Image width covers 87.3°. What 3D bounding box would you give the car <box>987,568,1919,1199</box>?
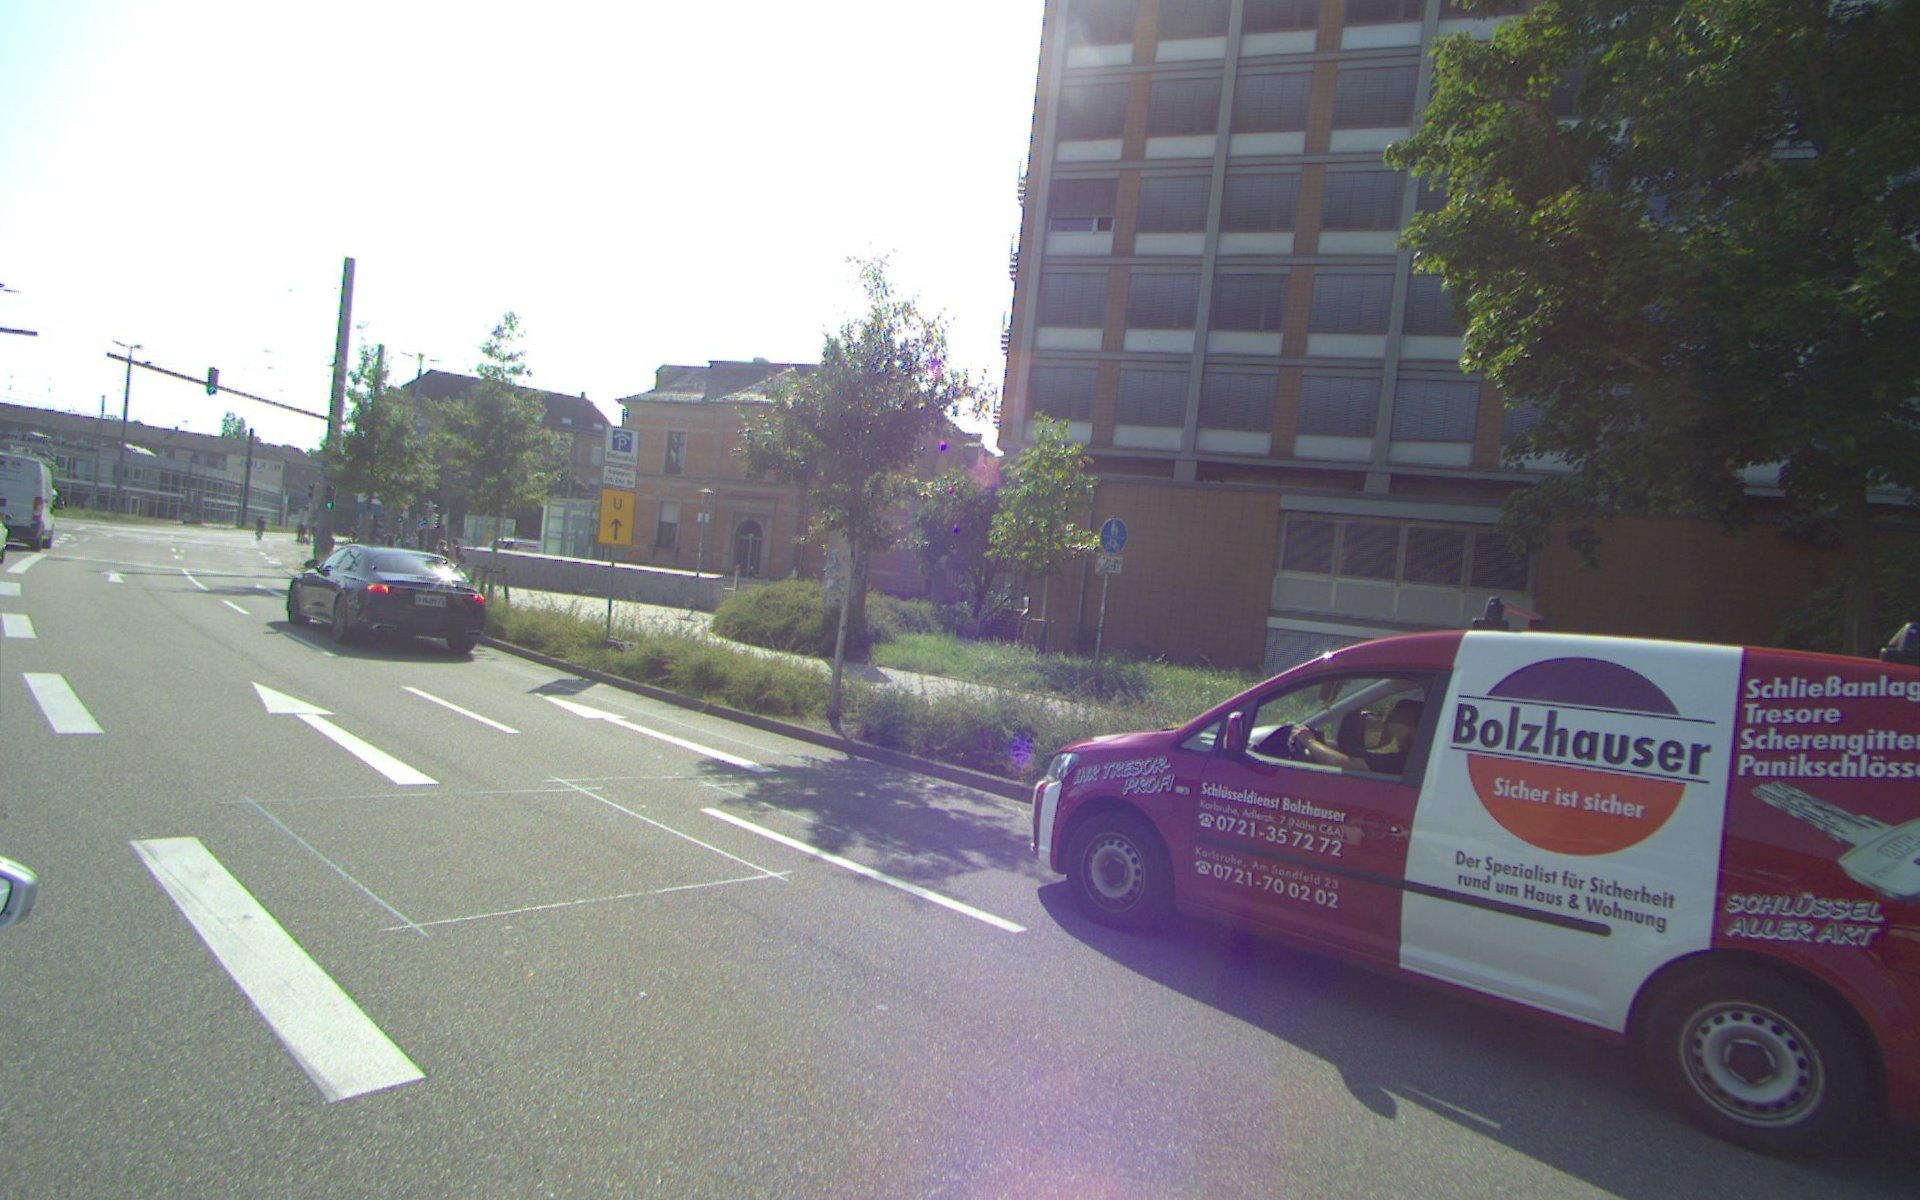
[{"bbox_3d":[2.382,0.978,5.054,4.218,1.841,1.730,6,-1,42],"label":"car"}]

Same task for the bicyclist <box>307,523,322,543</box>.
[{"bbox_3d":[-52.220,-5.433,81.373,0.797,1.517,0.743,6,1,-28],"label":"bicyclist"}]

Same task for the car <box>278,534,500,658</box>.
[{"bbox_3d":[-9.224,-0.132,16.039,1.815,1.457,4.812,7,-1,-44],"label":"car"}]

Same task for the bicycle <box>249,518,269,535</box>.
[{"bbox_3d":[-47.564,-4.957,68.277,0.765,0.988,2.136,6,0,-26],"label":"bicycle"}]

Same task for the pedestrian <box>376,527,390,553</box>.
[{"bbox_3d":[-44.793,-4.646,78.098,0.798,1.913,0.742,5,1,-31],"label":"pedestrian"}]

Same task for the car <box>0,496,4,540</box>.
[{"bbox_3d":[-19.389,-1.389,19.245,1.484,1.420,3.893,7,-1,-44],"label":"car"}]

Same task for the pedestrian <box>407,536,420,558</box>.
[{"bbox_3d":[-37.887,-3.665,69.754,0.652,1.378,0.654,7,2,-28],"label":"pedestrian"}]

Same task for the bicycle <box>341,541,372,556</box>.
[{"bbox_3d":[-48.680,-4.140,81.156,2.034,0.905,0.741,6,1,-28],"label":"bicycle"}]

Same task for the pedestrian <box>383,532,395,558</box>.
[{"bbox_3d":[-48.059,-4.641,84.675,0.741,2.039,0.800,5,1,-31],"label":"pedestrian"}]

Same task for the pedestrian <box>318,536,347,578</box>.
[{"bbox_3d":[-22.129,-1.514,35.474,0.625,1.379,0.635,7,1,42],"label":"pedestrian"}]

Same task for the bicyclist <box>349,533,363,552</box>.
[{"bbox_3d":[-48.693,-4.631,81.114,0.797,1.479,0.743,6,1,-28],"label":"bicyclist"}]

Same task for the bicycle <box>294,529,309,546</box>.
[{"bbox_3d":[-45.318,-4.288,69.245,0.700,1.075,1.966,6,1,-31],"label":"bicycle"}]

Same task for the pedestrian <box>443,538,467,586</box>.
[{"bbox_3d":[-17.890,-1.351,35.658,0.608,1.649,0.530,5,1,-24],"label":"pedestrian"}]

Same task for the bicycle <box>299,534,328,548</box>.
[{"bbox_3d":[-52.292,-4.785,81.384,1.783,0.896,0.756,6,1,-28],"label":"bicycle"}]

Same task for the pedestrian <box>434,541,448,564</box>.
[{"bbox_3d":[-34.391,-3.141,66.689,0.652,1.378,0.654,7,2,-28],"label":"pedestrian"}]

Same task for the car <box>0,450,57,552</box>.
[{"bbox_3d":[-27.026,-2.825,28.329,2.181,2.580,4.628,6,0,-42],"label":"car"}]

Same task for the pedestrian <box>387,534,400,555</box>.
[{"bbox_3d":[-39.512,-3.857,70.141,0.652,1.378,0.654,7,2,-28],"label":"pedestrian"}]

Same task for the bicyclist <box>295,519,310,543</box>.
[{"bbox_3d":[-45.295,-4.767,69.277,0.707,1.549,0.800,5,1,-31],"label":"bicyclist"}]

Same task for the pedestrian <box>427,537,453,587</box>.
[{"bbox_3d":[-18.019,-1.321,34.868,0.608,1.660,0.530,5,1,-25],"label":"pedestrian"}]

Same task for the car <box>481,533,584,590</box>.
[{"bbox_3d":[-19.334,-1.705,45.671,1.722,2.039,3.995,9,2,26],"label":"car"}]
